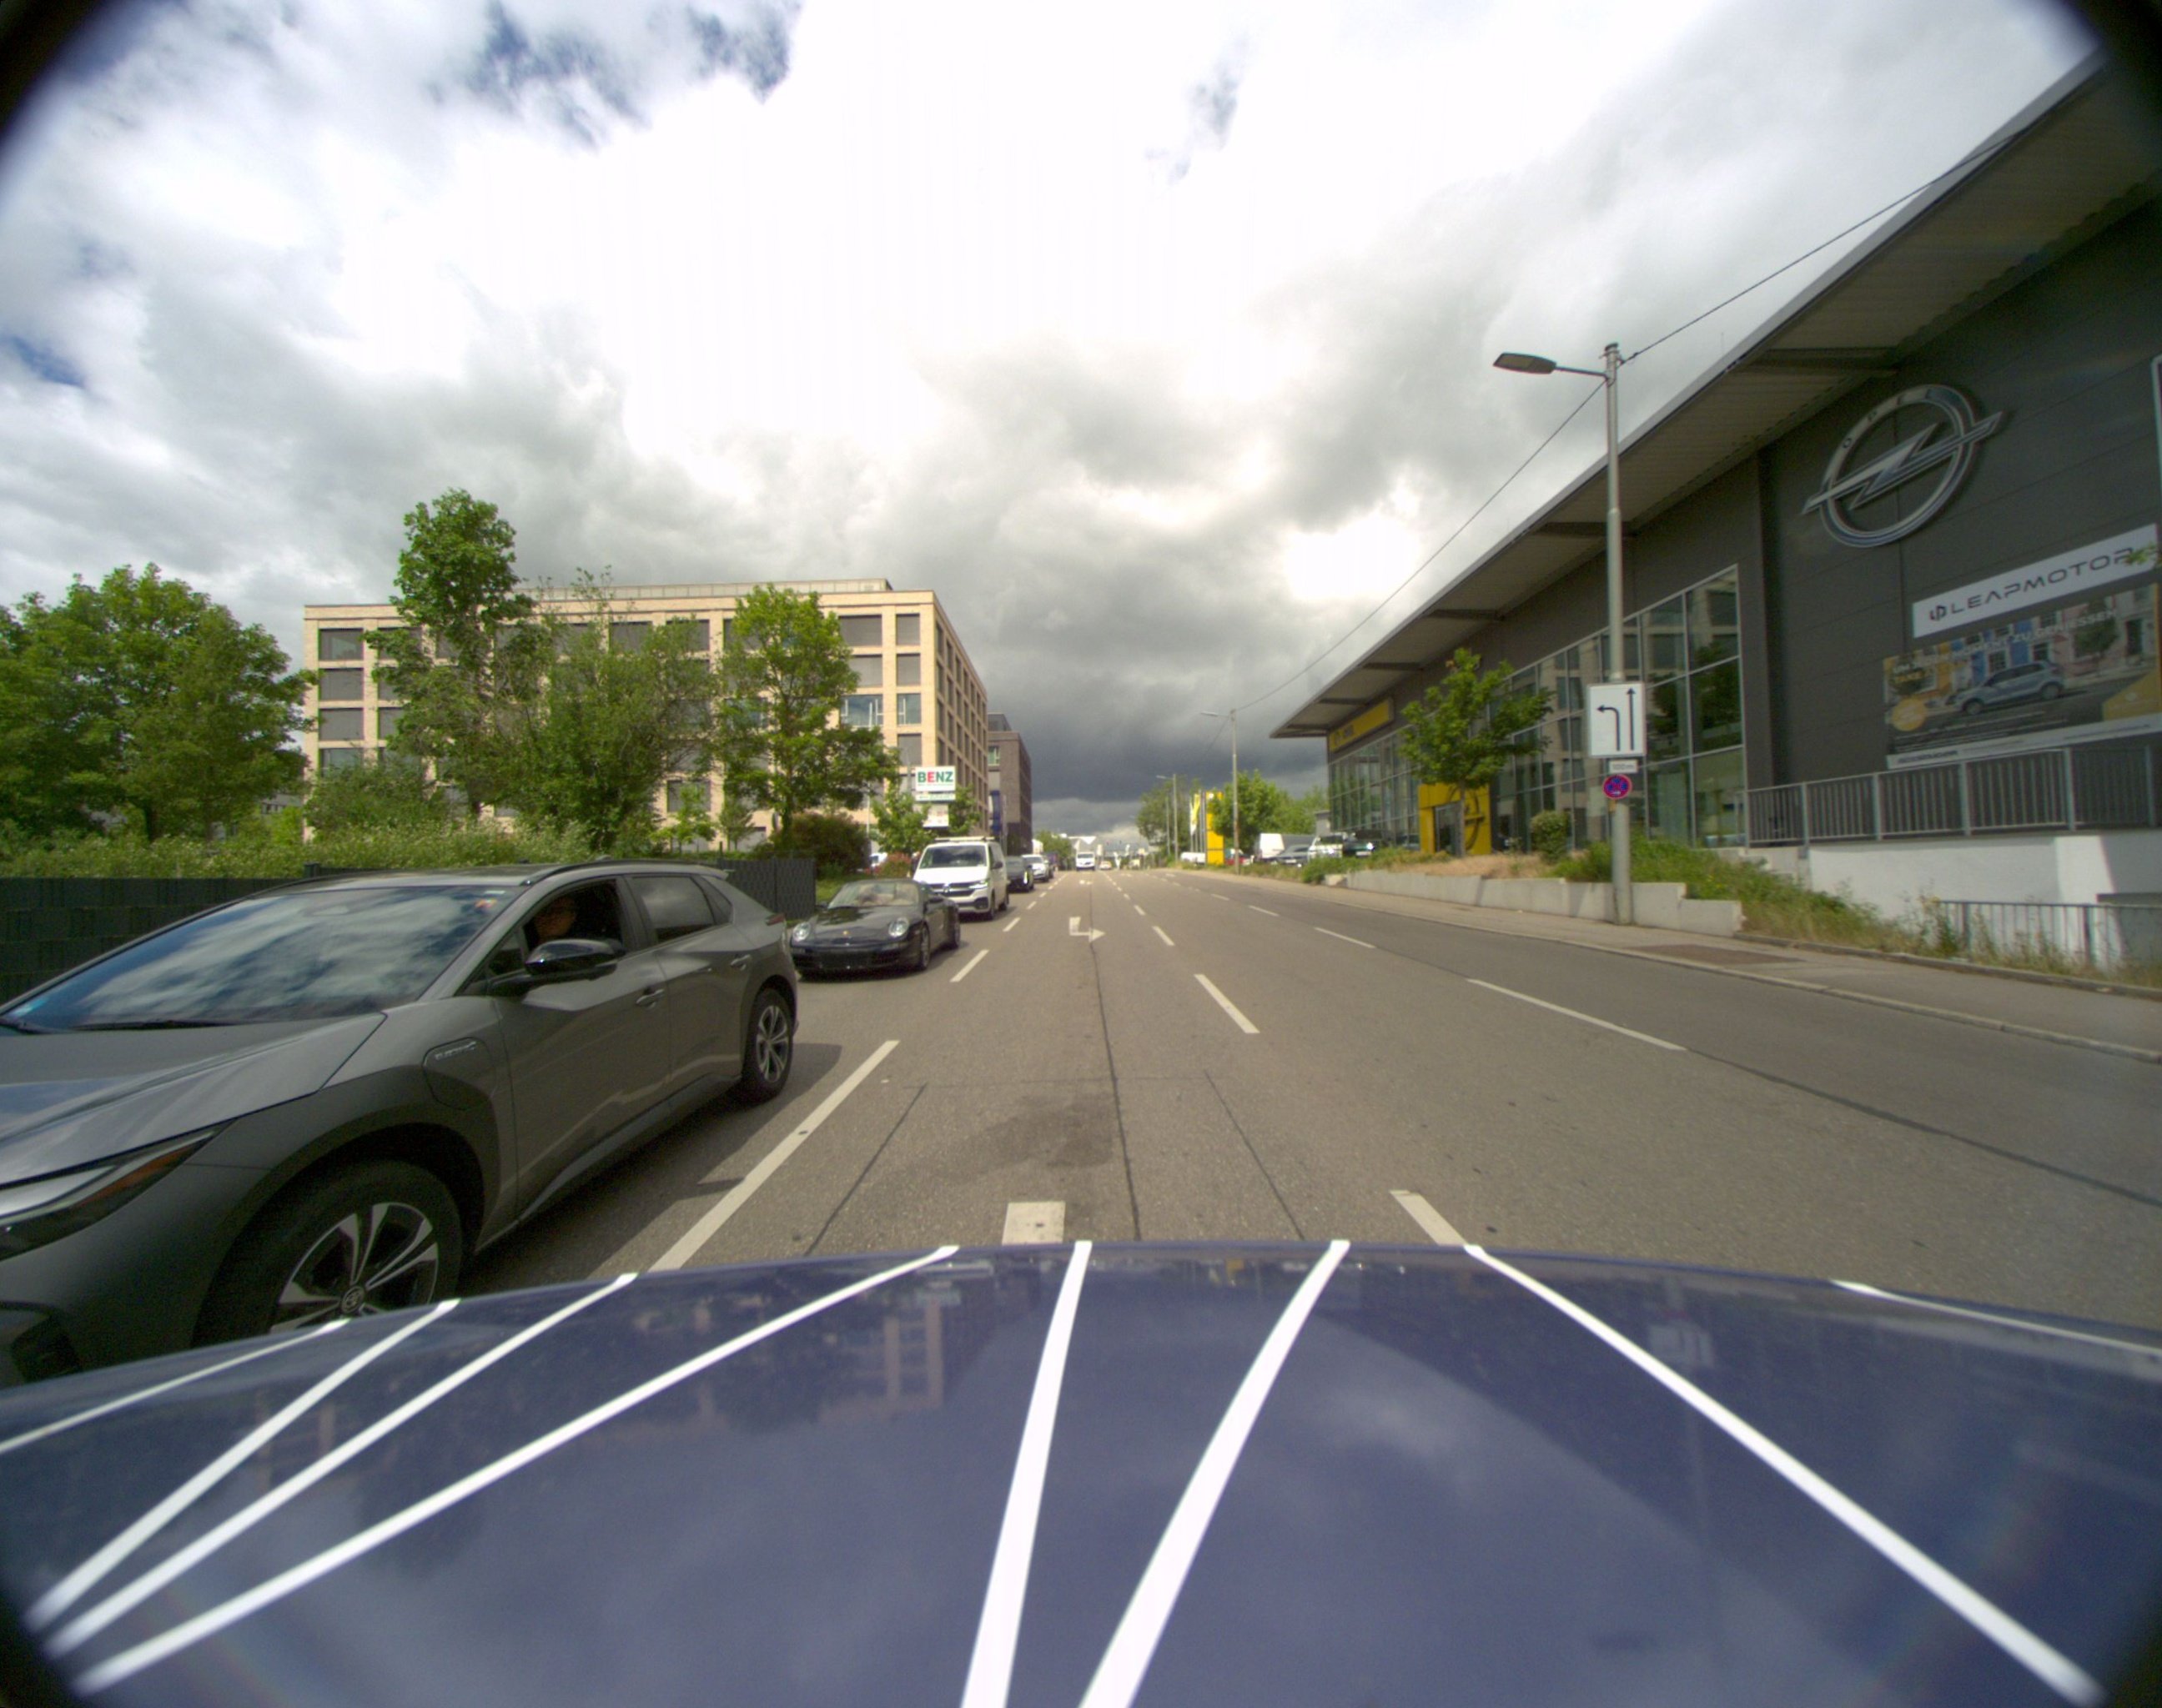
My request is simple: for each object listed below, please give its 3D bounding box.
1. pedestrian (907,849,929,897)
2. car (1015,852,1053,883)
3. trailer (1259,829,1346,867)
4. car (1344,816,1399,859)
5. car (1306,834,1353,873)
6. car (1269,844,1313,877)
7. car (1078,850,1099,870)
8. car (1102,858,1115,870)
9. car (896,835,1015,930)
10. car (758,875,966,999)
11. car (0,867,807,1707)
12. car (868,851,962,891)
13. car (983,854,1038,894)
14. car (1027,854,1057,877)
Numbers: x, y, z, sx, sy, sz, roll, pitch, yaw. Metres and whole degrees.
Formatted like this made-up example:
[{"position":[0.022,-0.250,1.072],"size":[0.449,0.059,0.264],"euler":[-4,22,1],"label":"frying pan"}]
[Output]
[{"position":[-5.971,0.690,27.845],"size":[0.602,1.710,0.553],"euler":[-1,1,1],"label":"pedestrian"},{"position":[-2.546,0.735,42.164],"size":[1.818,1.577,3.999],"euler":[-1,1,1],"label":"car"},{"position":[14.440,-0.404,49.684],"size":[5.074,2.336,1.999],"euler":[-1,1,-1],"label":"trailer"},{"position":[12.272,-0.675,32.338],"size":[1.996,1.718,4.005],"euler":[0,1,18],"label":"car"},{"position":[12.209,-0.050,37.191],"size":[1.995,1.783,4.005],"euler":[0,1,20],"label":"car"},{"position":[11.856,0.324,42.704],"size":[1.995,1.783,4.005],"euler":[0,1,20],"label":"car"},{"position":[0.757,0.587,77.584],"size":[1.998,1.819,4.547],"euler":[-1,1,2],"label":"car"},{"position":[4.376,1.534,120.777],"size":[1.998,1.731,4.546],"euler":[-1,1,1],"label":"car"},{"position":[-3.007,0.612,19.333],"size":[2.089,2.037,4.759],"euler":[-2,1,1],"label":"car"},{"position":[-2.978,1.078,11.303],"size":[1.824,1.286,4.037],"euler":[-2,1,1],"label":"car"},{"position":[-2.993,0.948,3.155],"size":[1.998,1.620,4.579],"euler":[-1,1,0],"label":"car"},{"position":[-7.634,0.775,35.303],"size":[3.998,1.723,1.822],"euler":[-1,1,-3],"label":"car"},{"position":[-2.828,0.774,31.359],"size":[1.818,1.454,3.999],"euler":[-1,1,1],"label":"car"},{"position":[-2.495,0.721,49.015],"size":[1.662,1.351,3.999],"euler":[-1,1,1],"label":"car"}]
